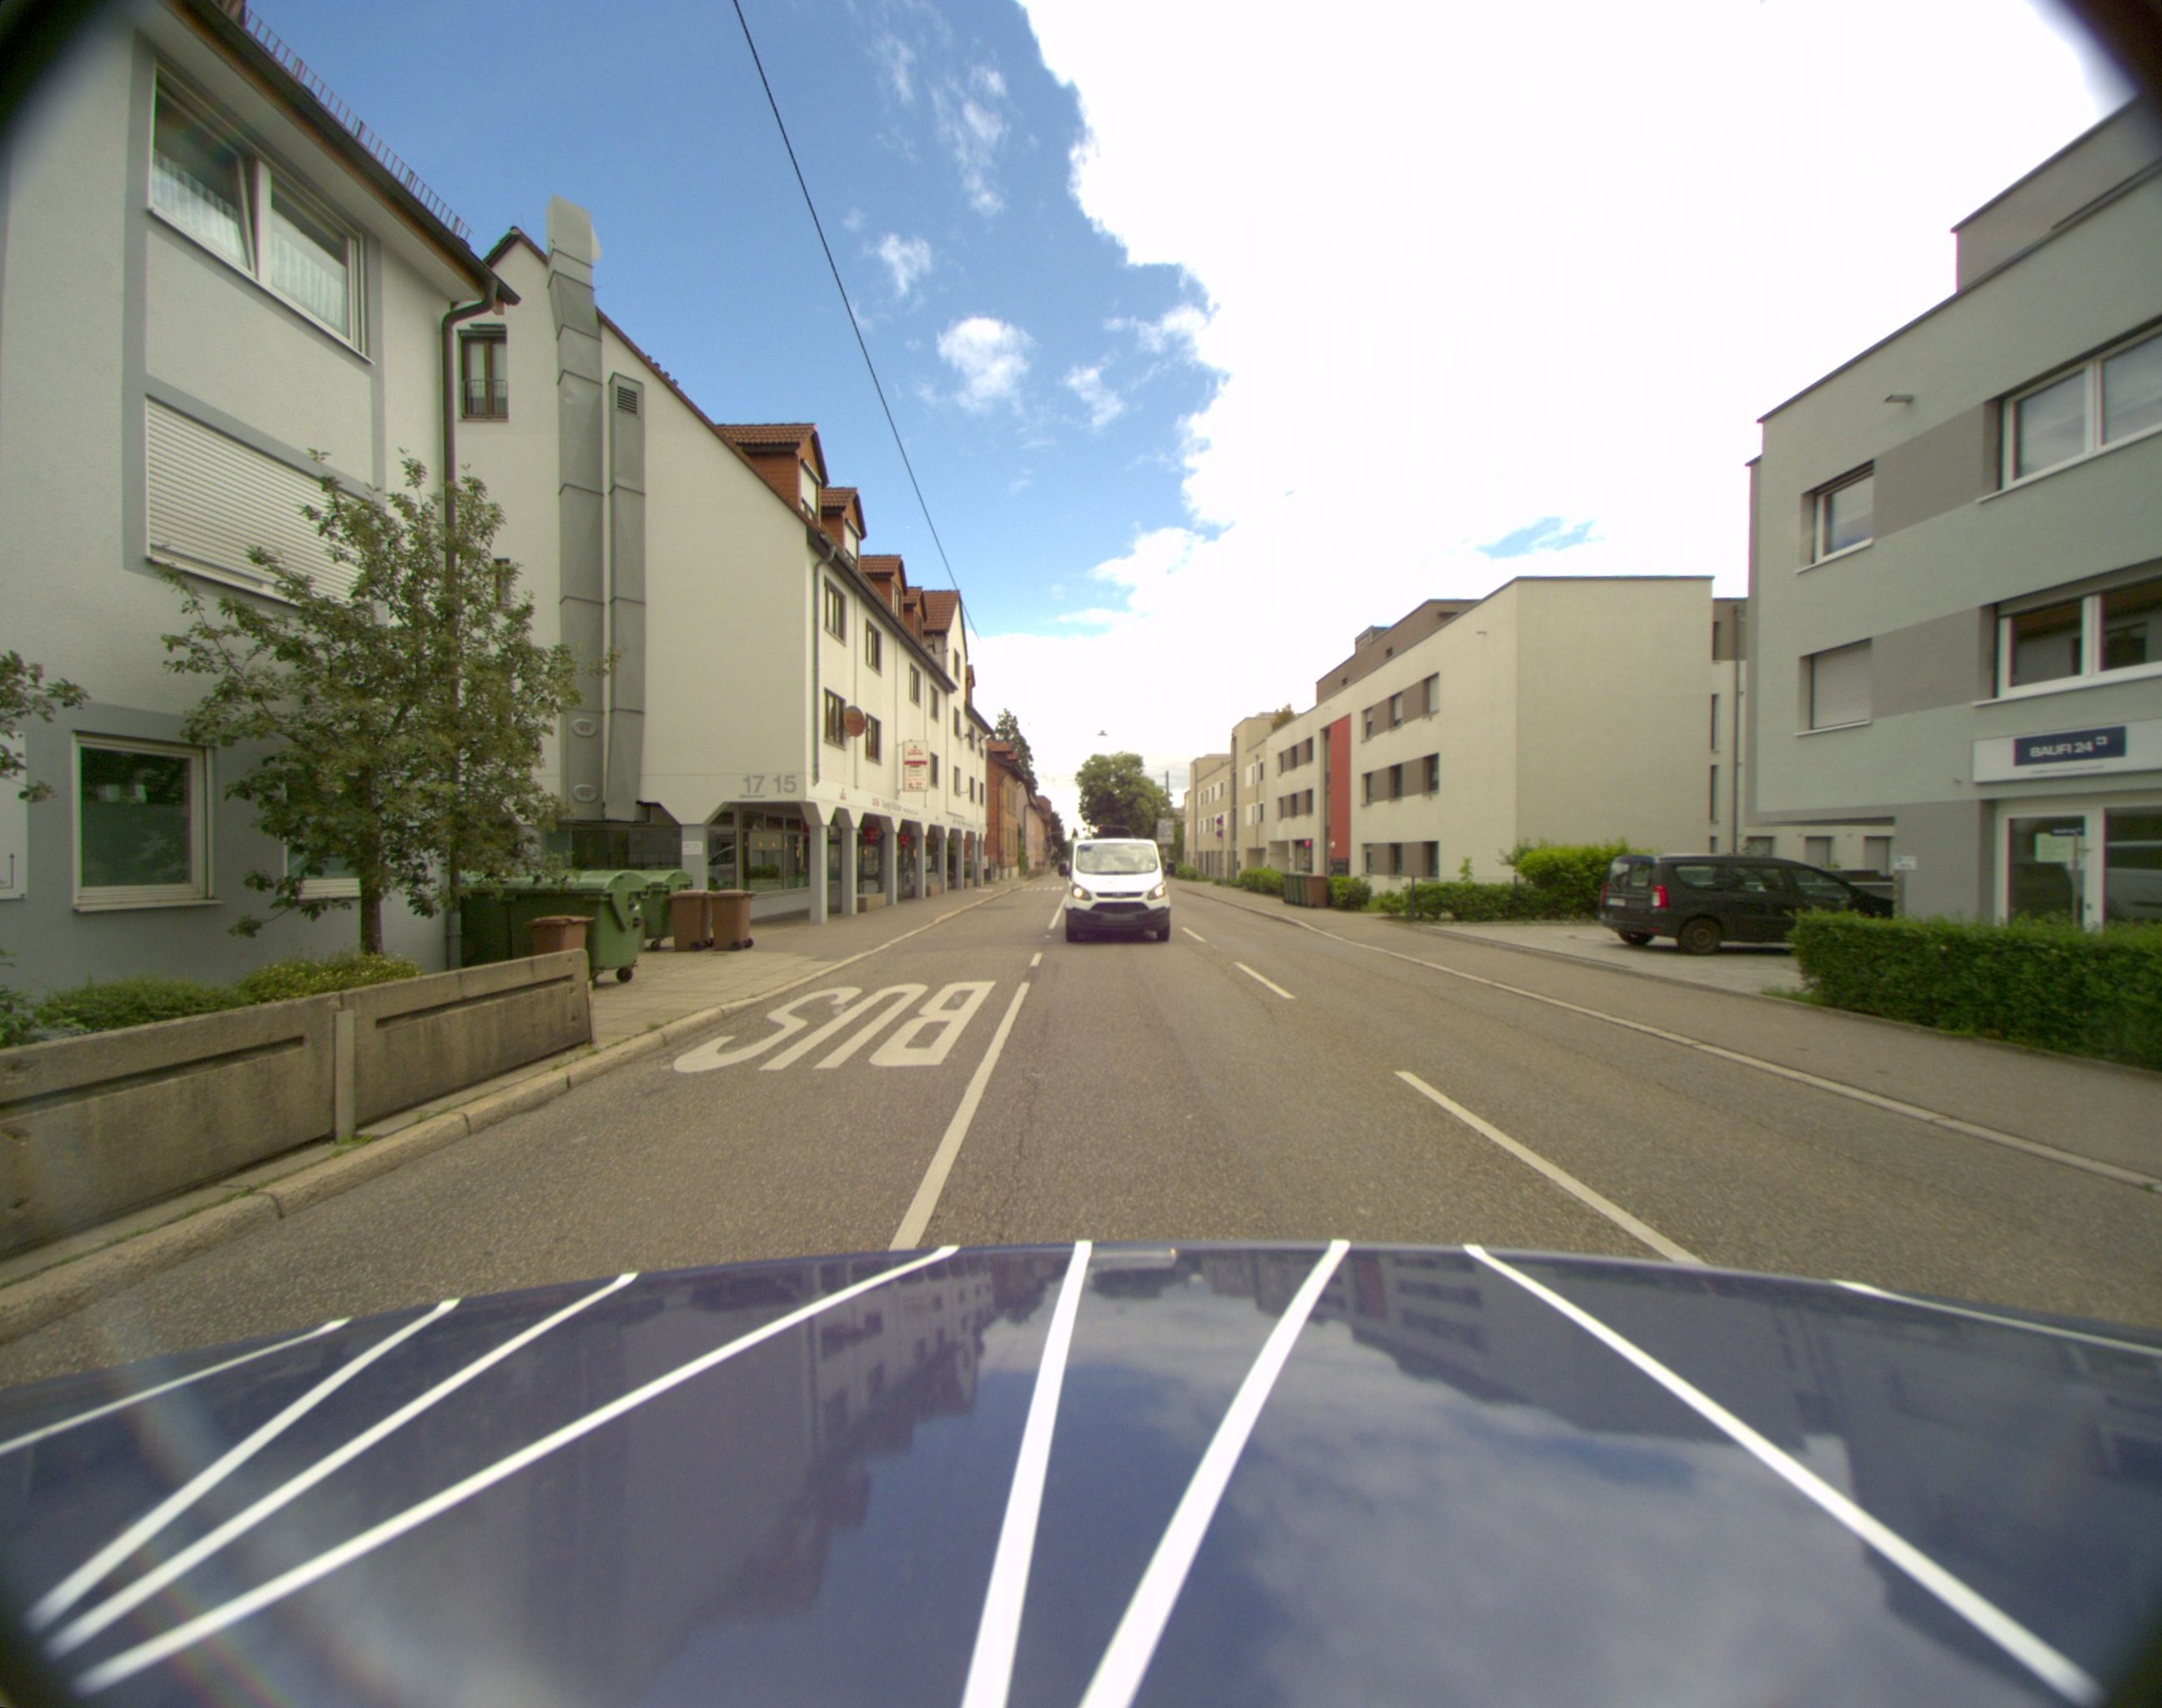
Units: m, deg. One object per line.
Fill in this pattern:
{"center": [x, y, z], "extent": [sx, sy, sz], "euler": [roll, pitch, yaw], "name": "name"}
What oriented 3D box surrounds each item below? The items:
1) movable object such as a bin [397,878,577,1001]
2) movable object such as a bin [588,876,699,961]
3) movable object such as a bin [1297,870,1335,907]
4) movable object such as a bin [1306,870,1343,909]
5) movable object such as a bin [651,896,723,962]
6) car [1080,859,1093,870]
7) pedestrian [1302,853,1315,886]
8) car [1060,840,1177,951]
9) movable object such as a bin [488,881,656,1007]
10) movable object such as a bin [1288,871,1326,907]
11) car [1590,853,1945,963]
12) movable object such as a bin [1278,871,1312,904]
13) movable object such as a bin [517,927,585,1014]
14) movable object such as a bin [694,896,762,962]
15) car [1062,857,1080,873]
{"center": [-7.584, 1.054, 9.798], "extent": [1.270, 1.426, 1.307], "euler": [0, 0, 1], "name": "movable object such as a bin"}
{"center": [-7.851, 1.132, 13.706], "extent": [1.212, 1.409, 1.260], "euler": [0, 0, 4], "name": "movable object such as a bin"}
{"center": [7.433, 1.085, 24.053], "extent": [0.951, 1.144, 0.749], "euler": [0, 0, -4], "name": "movable object such as a bin"}
{"center": [7.472, 1.076, 23.347], "extent": [0.943, 1.144, 0.612], "euler": [0, 0, -4], "name": "movable object such as a bin"}
{"center": [-6.901, 1.296, 13.349], "extent": [0.699, 1.073, 0.972], "euler": [0, 0, 4], "name": "movable object such as a bin"}
{"center": [0.784, 1.522, 109.101], "extent": [1.755, 1.485, 3.986], "euler": [0, 0, 0], "name": "car"}
{"center": [11.451, 0.774, 38.282], "extent": [0.519, 1.633, 0.641], "euler": [0, 1, 24], "name": "pedestrian"}
{"center": [0.653, 0.735, 15.916], "extent": [2.062, 1.945, 5.060], "euler": [0, 0, 0], "name": "car"}
{"center": [-6.231, 1.065, 9.392], "extent": [1.270, 1.409, 1.162], "euler": [0, 0, 1], "name": "movable object such as a bin"}
{"center": [7.379, 1.129, 24.883], "extent": [0.959, 1.144, 0.840], "euler": [0, 0, -4], "name": "movable object such as a bin"}
{"center": [11.122, 0.825, 12.567], "extent": [4.172, 1.658, 1.725], "euler": [0, 1, 4], "name": "car"}
{"center": [7.243, 1.133, 25.728], "extent": [0.897, 1.082, 0.792], "euler": [0, 0, -4], "name": "movable object such as a bin"}
{"center": [-5.970, 1.302, 8.577], "extent": [0.431, 0.915, 0.465], "euler": [0, 0, 1], "name": "movable object such as a bin"}
{"center": [-6.169, 1.290, 13.315], "extent": [0.685, 1.061, 0.972], "euler": [0, 0, 4], "name": "movable object such as a bin"}
{"center": [-1.026, 1.104, 76.908], "extent": [1.755, 1.485, 3.986], "euler": [0, 0, 0], "name": "car"}
